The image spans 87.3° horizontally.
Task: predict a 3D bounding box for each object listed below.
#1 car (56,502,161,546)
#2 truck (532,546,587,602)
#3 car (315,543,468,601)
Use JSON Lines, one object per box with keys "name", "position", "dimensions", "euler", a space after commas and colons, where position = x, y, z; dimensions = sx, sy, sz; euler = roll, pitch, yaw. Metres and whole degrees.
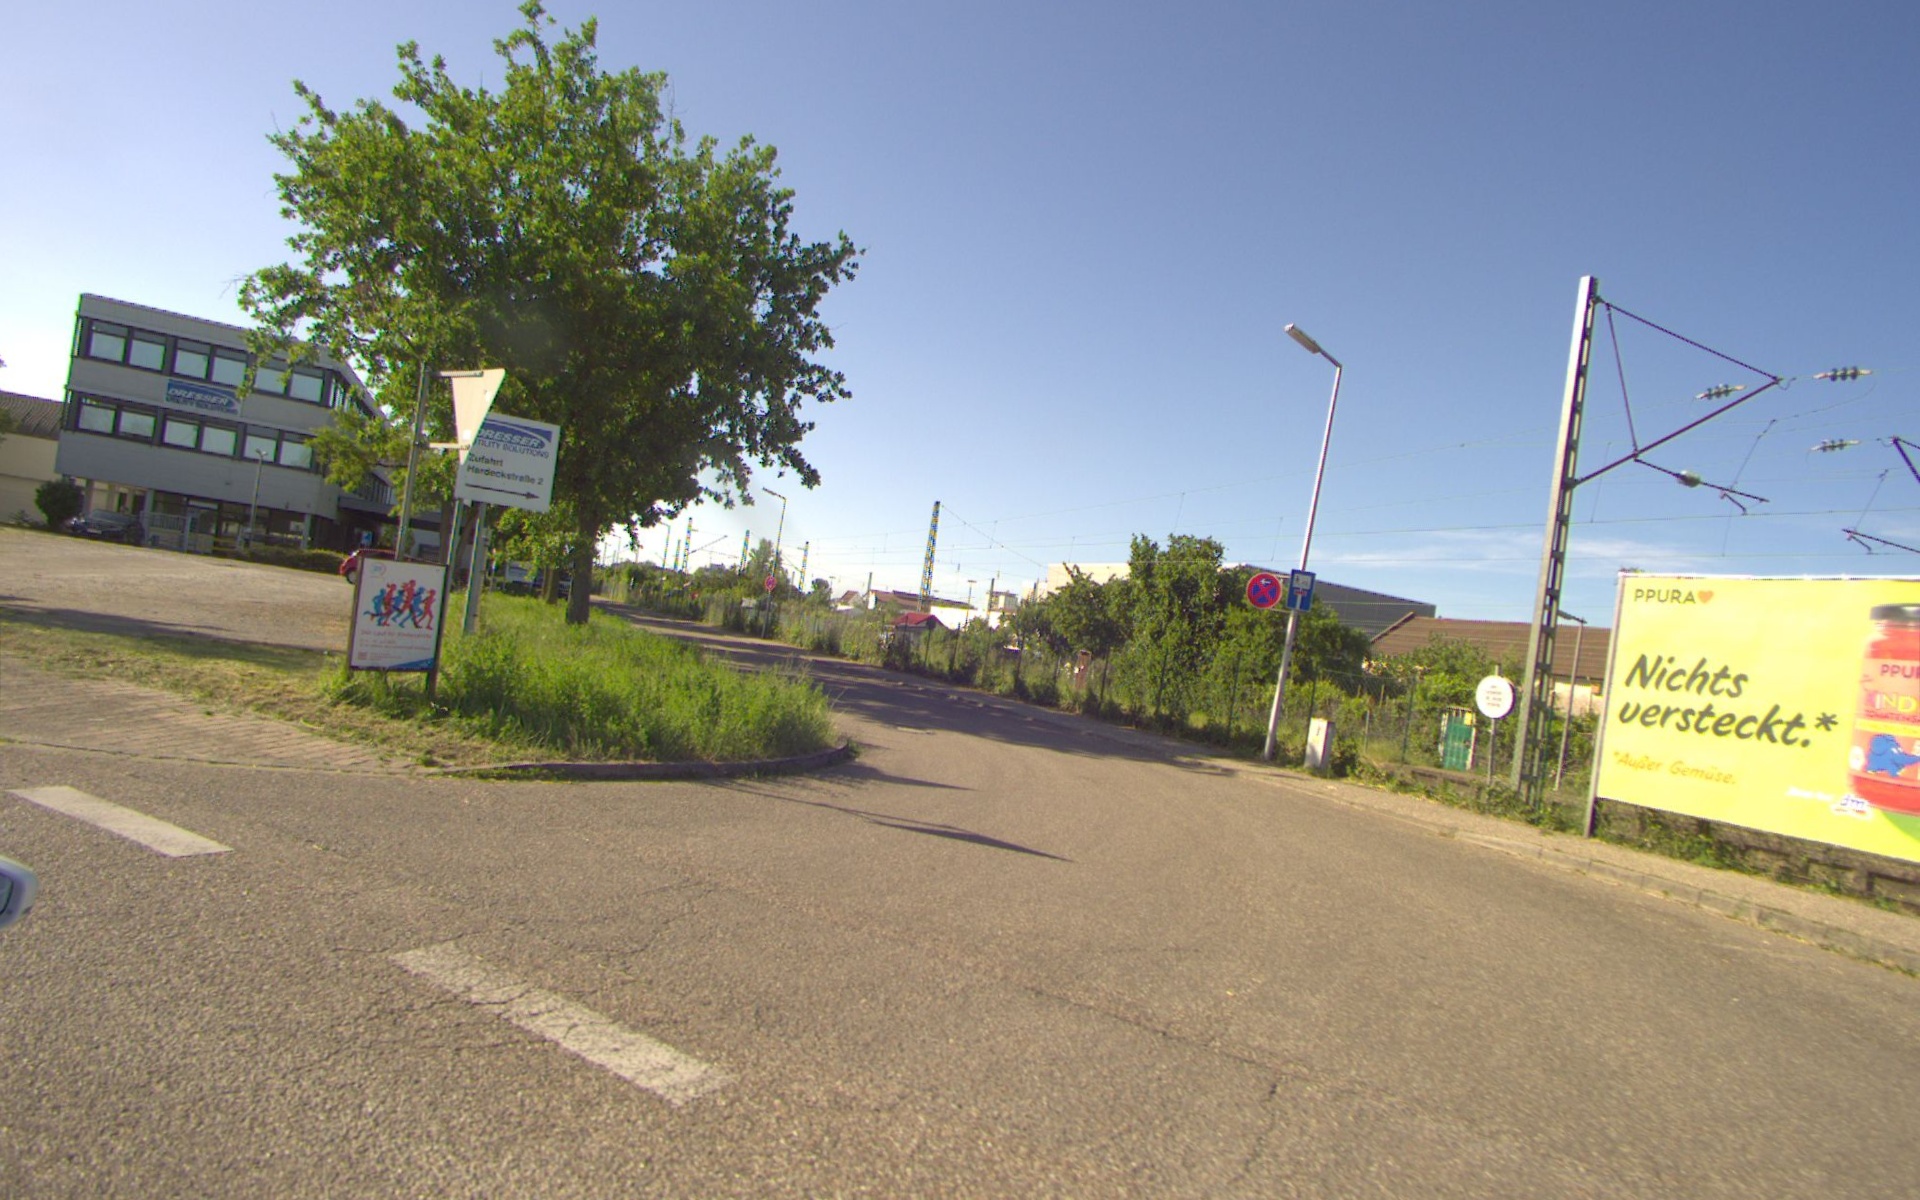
{"name": "car", "position": [-38.009, -3.352, 45.075], "dimensions": [1.974, 1.502, 4.900], "euler": [9, -1, -22]}
{"name": "truck", "position": [-33.380, -2.195, 83.451], "dimensions": [2.592, 3.928, 13.444], "euler": [9, -2, -27]}
{"name": "car", "position": [-22.445, -1.104, 39.948], "dimensions": [4.861, 1.502, 1.990], "euler": [9, -1, -21]}
